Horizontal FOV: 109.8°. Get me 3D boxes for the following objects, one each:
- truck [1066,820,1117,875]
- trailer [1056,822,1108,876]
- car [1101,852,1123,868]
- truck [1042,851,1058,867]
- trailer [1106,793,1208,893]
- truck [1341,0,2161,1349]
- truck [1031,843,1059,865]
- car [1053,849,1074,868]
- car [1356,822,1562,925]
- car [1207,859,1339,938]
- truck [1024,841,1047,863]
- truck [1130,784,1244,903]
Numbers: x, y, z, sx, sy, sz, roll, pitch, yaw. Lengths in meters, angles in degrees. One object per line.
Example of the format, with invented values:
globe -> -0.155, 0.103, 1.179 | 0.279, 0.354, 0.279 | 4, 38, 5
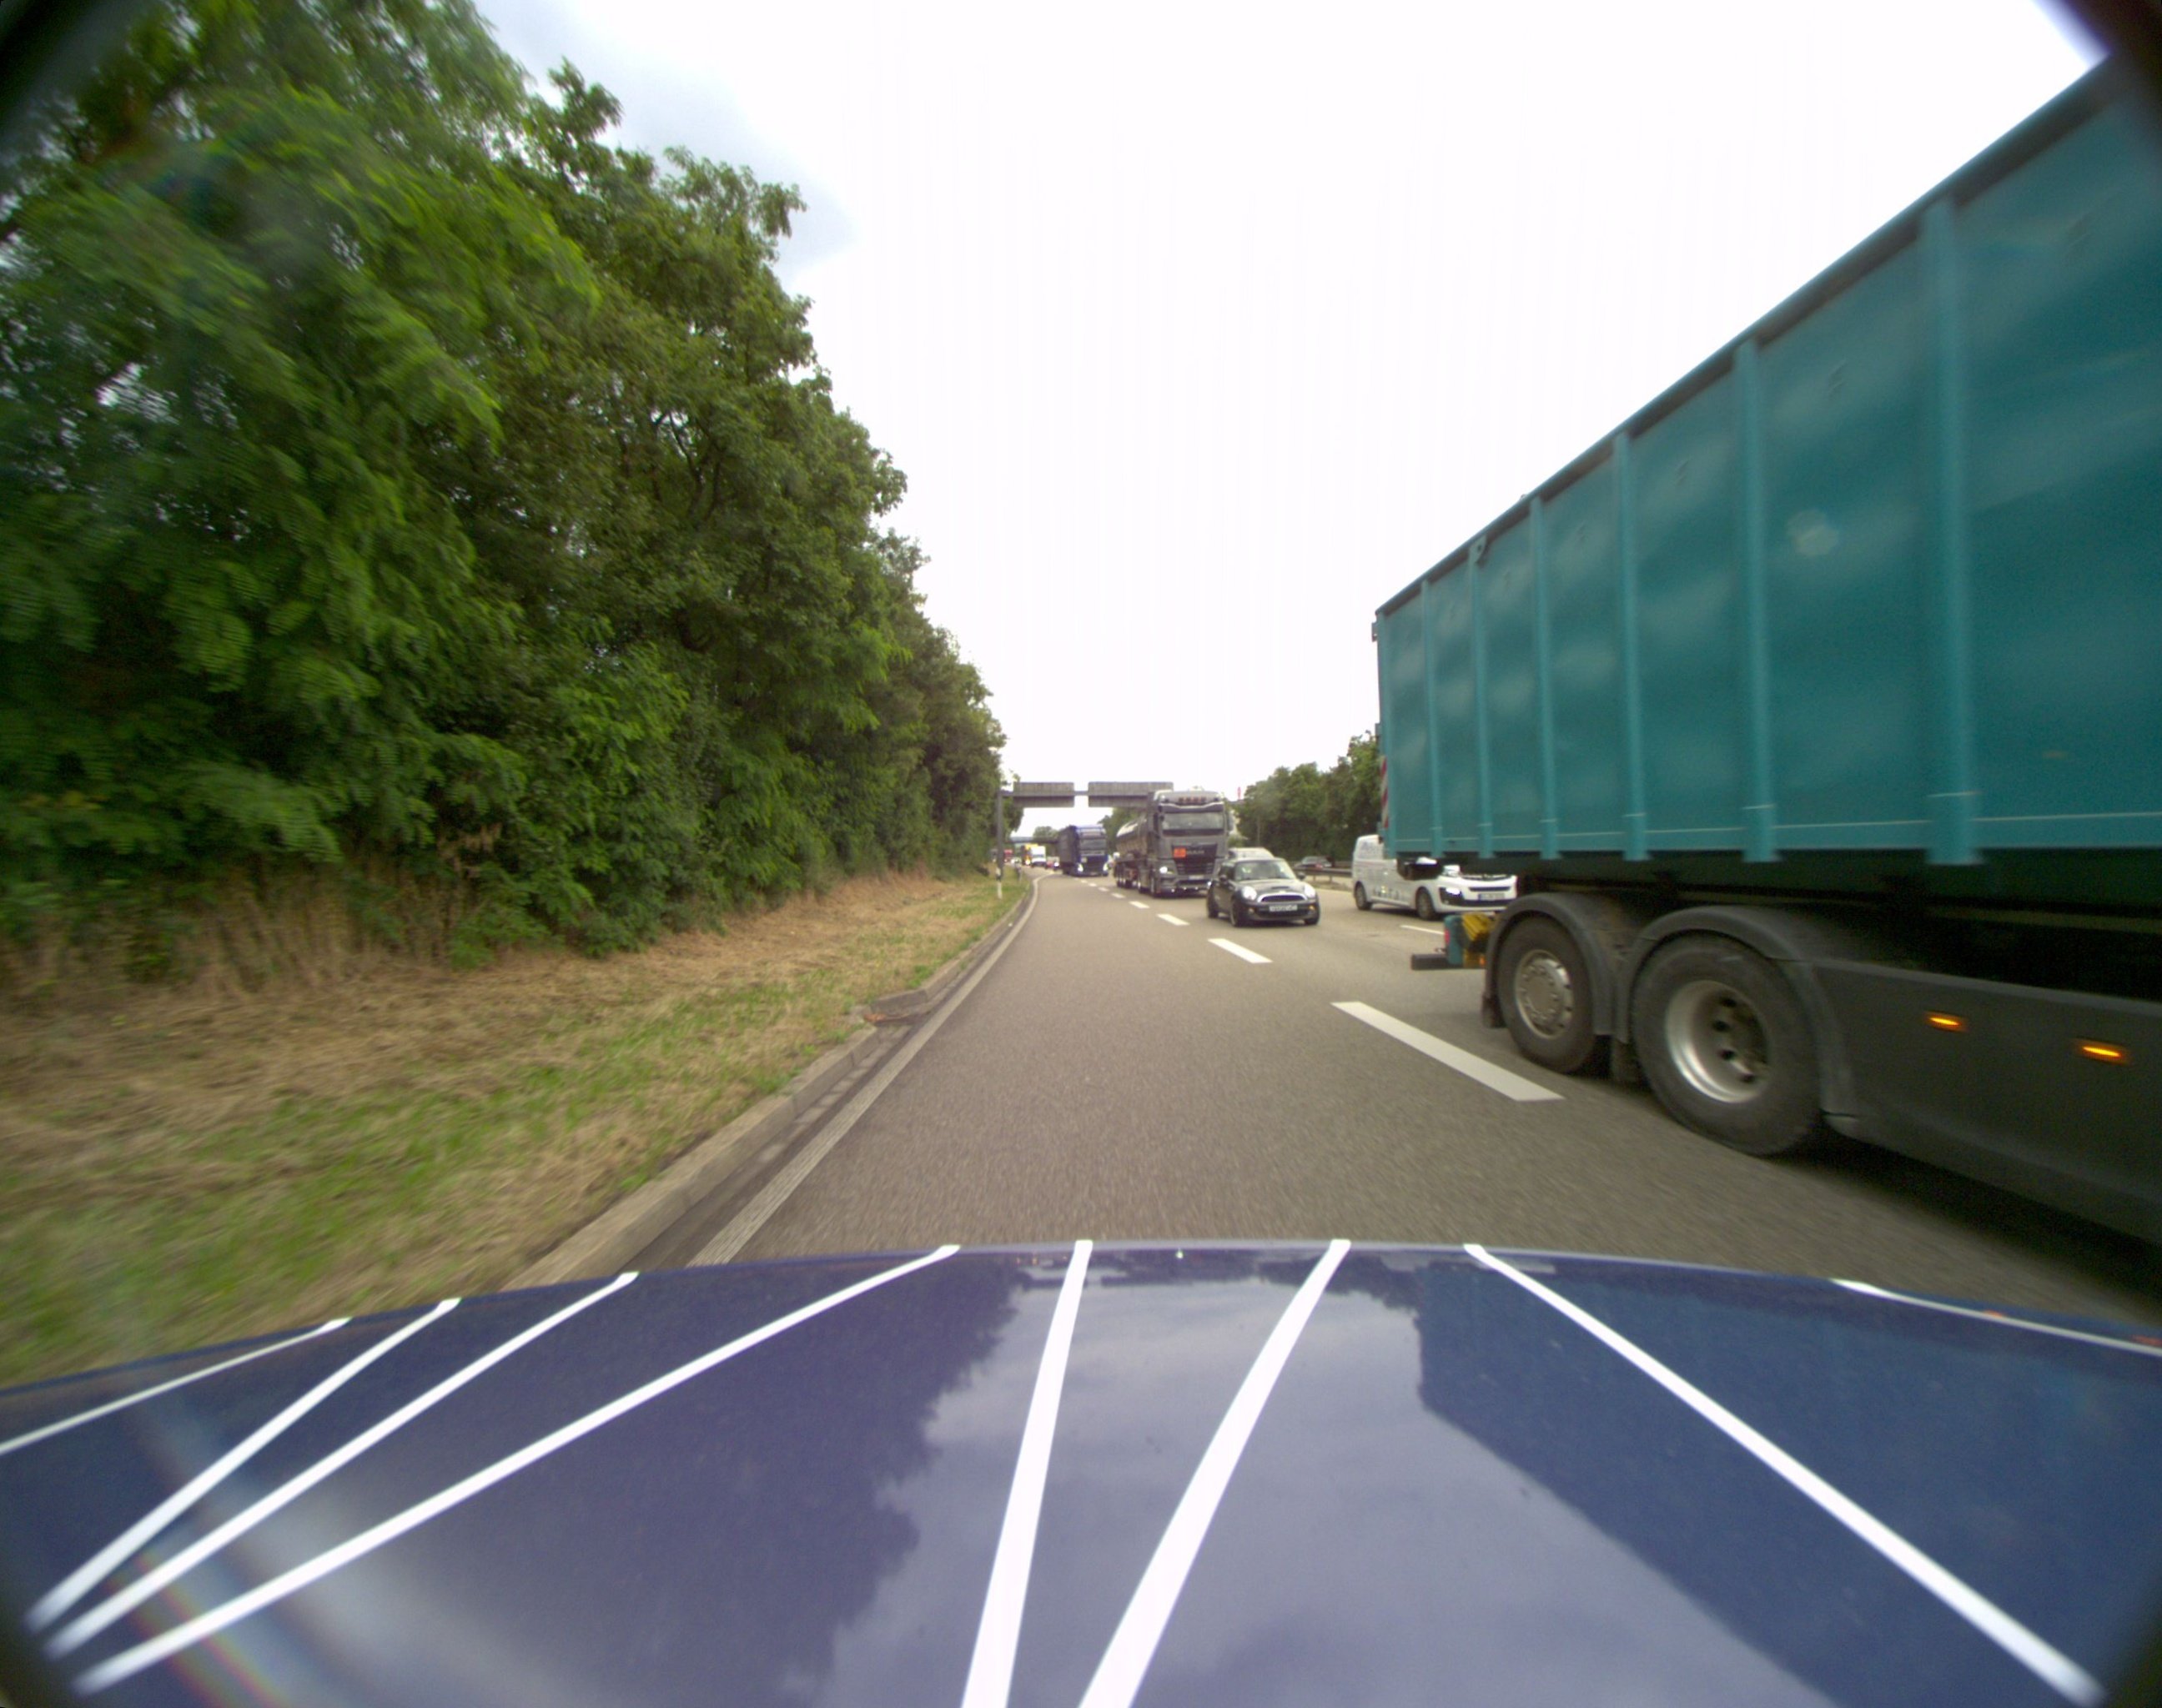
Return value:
truck -> 0.688, -0.492, 59.201 | 2.962, 3.946, 7.466 | -2, 0, -6
trailer -> -0.093, -0.437, 65.078 | 2.846, 4.013, 13.077 | -3, 1, -6
car -> 3.314, 0.645, 81.252 | 1.849, 1.641, 3.998 | -1, 0, -4
truck -> -4.011, 0.617, 98.070 | 1.894, 2.002, 6.088 | -1, 0, -4
trailer -> 3.186, -0.429, 35.397 | 2.691, 3.884, 10.981 | -1, 0, -5
truck -> 4.424, -0.538, 2.354 | 2.937, 3.774, 11.328 | -1, 0, -2
truck -> -5.636, -0.031, 117.148 | 3.368, 3.099, 7.234 | -3, 1, -9
car -> -1.961, 0.449, 83.697 | 1.752, 2.002, 3.997 | -1, 0, -9
car -> 7.919, 0.364, 16.572 | 1.856, 1.880, 4.876 | -1, 0, -3
car -> 3.906, 0.840, 16.093 | 1.752, 1.413, 3.663 | -2, 0, -2
truck -> -8.783, -0.413, 146.552 | 3.367, 4.041, 10.176 | -3, 1, -8
truck -> 3.732, -0.361, 28.571 | 2.691, 3.884, 6.932 | -1, 0, -5
